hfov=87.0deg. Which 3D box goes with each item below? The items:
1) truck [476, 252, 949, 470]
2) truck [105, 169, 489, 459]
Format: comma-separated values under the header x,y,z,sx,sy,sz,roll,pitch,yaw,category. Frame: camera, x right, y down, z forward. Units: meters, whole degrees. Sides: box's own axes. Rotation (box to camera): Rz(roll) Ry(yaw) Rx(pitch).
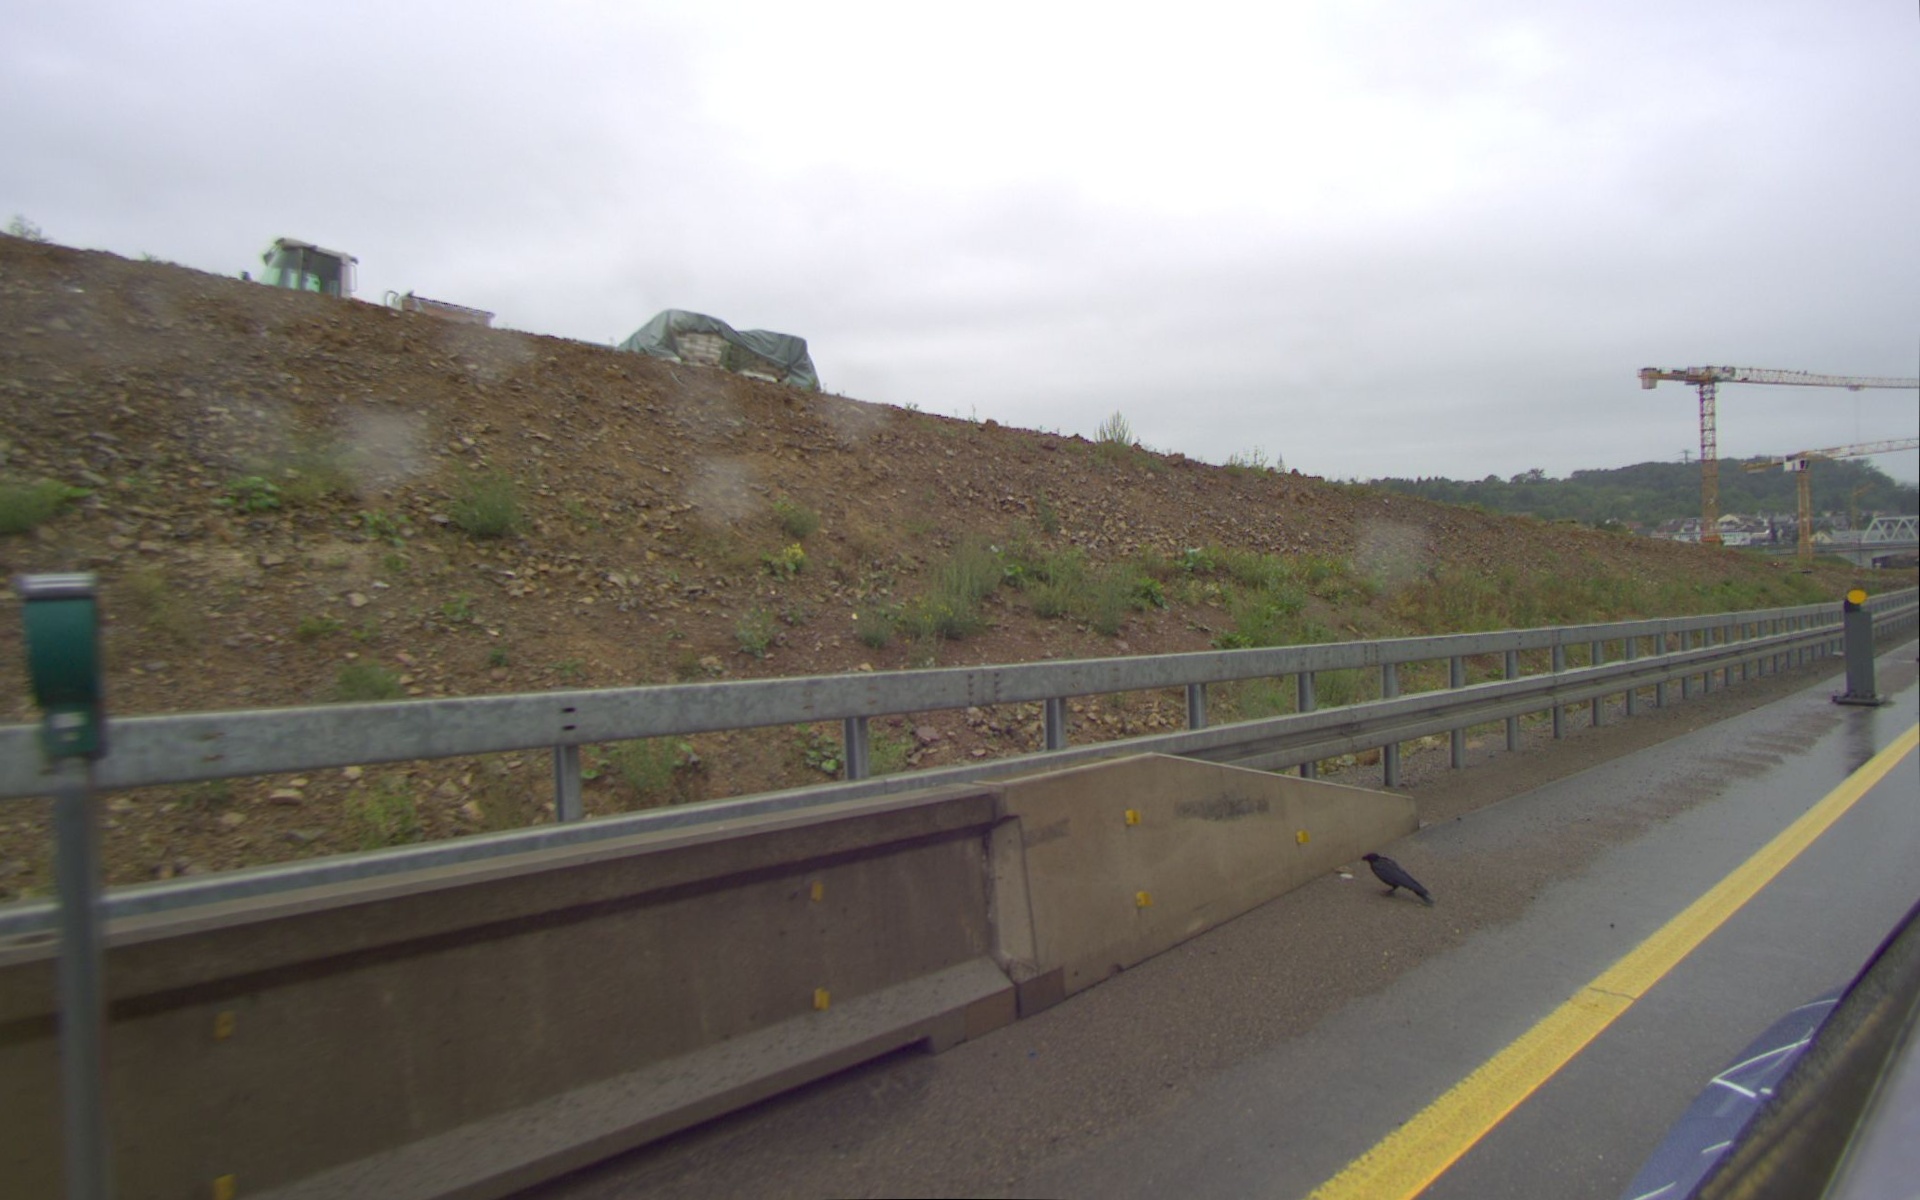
x,y,z,sx,sy,sz,roll,pitch,yaw,category
-4.738,-4.463,20.777,8.801,2.910,3.403,-3,2,-39,truck
-12.685,-5.144,19.671,5.878,4.270,2.377,-3,2,-42,truck
